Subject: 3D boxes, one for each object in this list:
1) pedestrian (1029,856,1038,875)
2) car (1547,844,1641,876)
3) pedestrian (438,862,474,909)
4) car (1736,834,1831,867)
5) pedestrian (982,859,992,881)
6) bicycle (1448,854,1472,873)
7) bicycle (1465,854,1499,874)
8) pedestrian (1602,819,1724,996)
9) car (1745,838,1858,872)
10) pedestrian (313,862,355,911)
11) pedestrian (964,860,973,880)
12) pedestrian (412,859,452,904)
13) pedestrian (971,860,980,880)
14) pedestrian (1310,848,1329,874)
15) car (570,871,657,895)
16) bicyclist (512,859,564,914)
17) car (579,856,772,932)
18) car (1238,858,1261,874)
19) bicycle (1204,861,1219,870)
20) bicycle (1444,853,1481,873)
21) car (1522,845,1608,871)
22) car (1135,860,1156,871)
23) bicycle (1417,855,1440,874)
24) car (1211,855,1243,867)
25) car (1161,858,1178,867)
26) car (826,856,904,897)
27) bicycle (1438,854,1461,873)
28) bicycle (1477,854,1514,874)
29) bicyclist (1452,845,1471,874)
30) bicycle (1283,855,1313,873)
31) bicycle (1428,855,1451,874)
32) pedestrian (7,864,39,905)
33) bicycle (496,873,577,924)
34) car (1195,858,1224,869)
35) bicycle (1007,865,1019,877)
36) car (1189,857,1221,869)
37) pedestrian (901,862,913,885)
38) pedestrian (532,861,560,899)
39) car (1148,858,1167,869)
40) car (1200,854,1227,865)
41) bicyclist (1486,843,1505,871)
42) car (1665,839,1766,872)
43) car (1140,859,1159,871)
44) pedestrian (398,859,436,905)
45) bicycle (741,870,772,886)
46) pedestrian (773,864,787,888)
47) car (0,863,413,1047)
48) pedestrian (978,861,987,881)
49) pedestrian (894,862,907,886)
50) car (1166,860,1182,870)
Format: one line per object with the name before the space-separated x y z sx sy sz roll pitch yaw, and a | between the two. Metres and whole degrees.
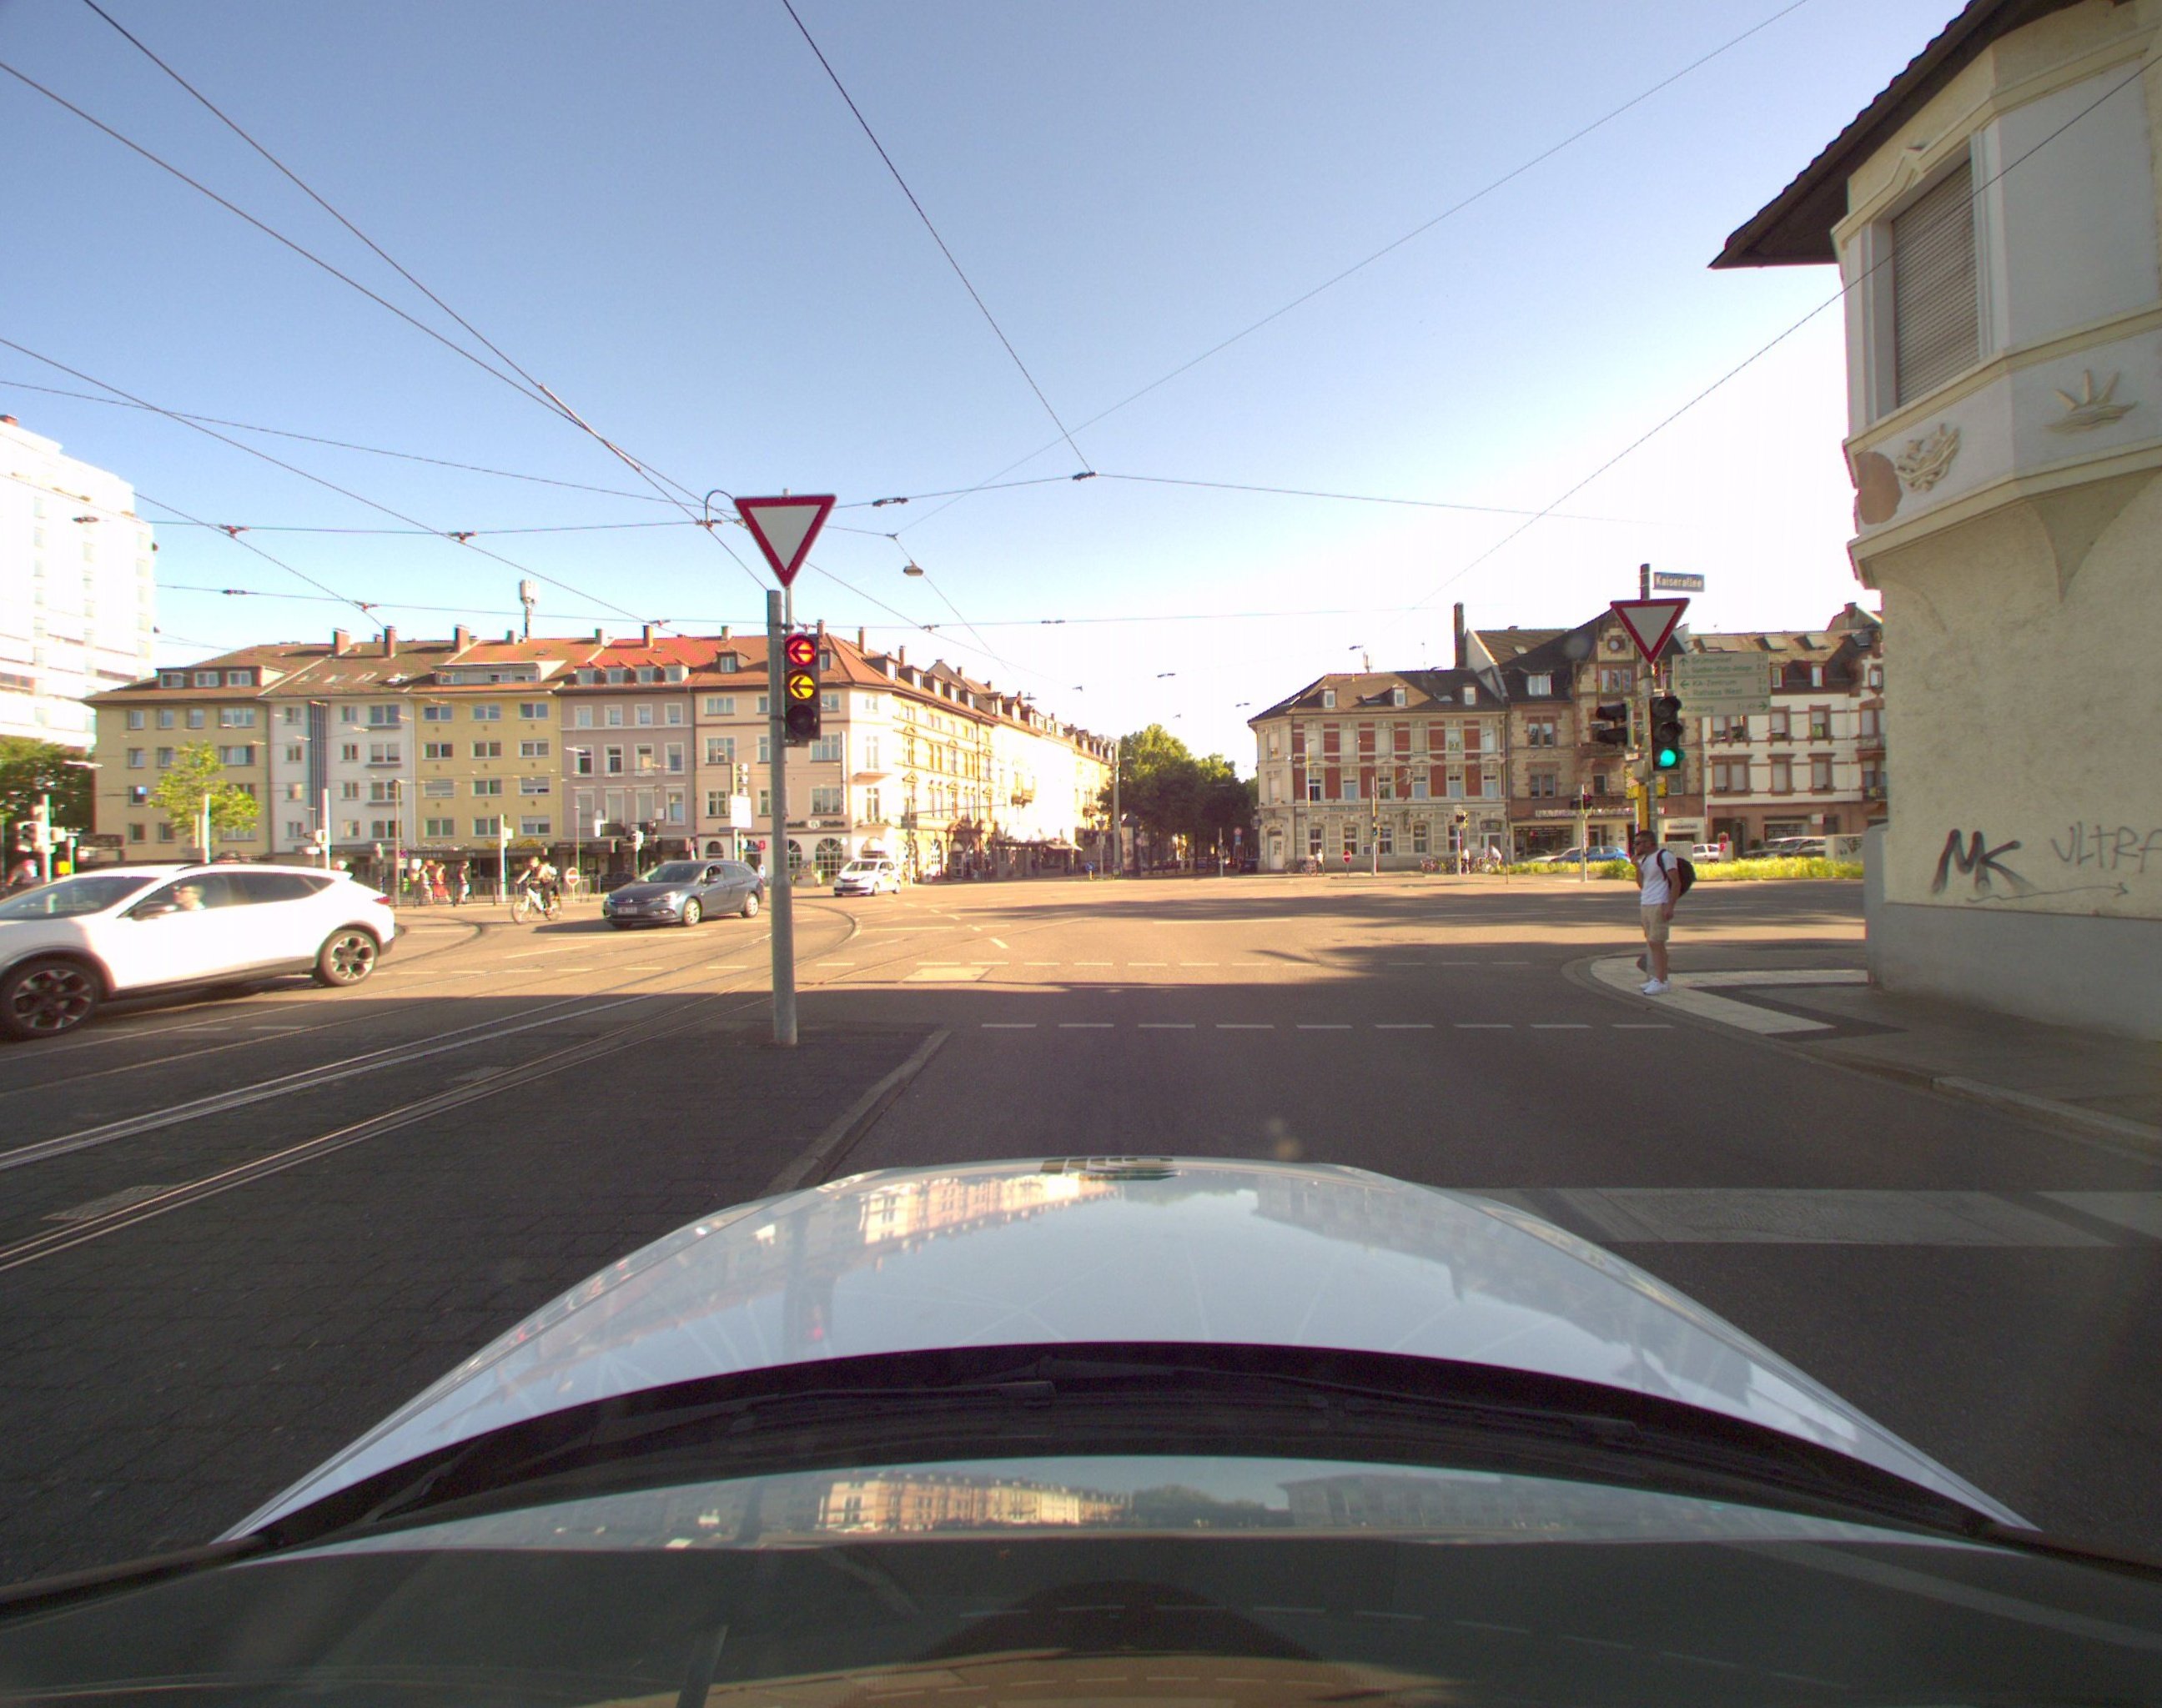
pedestrian | -4.795 1.128 82.824 0.676 1.908 0.636 -2 0 18
car | 28.326 0.327 45.035 3.973 1.668 1.955 -2 0 1
pedestrian | -23.644 1.171 30.825 0.797 1.733 0.653 -1 0 -2
car | 45.243 -0.205 52.504 4.388 1.965 1.955 -2 0 1
pedestrian | -8.107 1.374 70.263 0.575 1.836 0.636 -2 0 18
bicycle | 24.528 0.606 52.742 0.674 1.191 1.969 -2 0 3
bicycle | 25.752 0.630 52.314 1.961 1.191 0.677 -1 0 -10
pedestrian | 6.103 0.542 8.561 0.691 1.740 0.668 -4 -1 -26
car | 39.469 0.056 44.710 4.456 1.668 1.955 -2 0 1
pedestrian | -26.916 1.146 29.340 0.815 1.724 0.853 -2 -1 24
pedestrian | -9.582 1.383 69.434 0.622 1.642 0.539 -2 0 14
pedestrian | -25.947 1.084 32.566 0.899 1.733 0.841 -1 0 2
pedestrian | -9.005 1.355 69.323 0.546 1.642 0.540 -2 0 14
pedestrian | 15.657 0.479 53.453 0.719 1.669 0.932 -1 0 -24
car | -30.692 1.906 53.533 4.626 1.440 1.743 -1 -1 -1
bicyclist | -13.695 0.811 20.560 0.600 1.340 0.900 -1 0 9
car | -9.135 0.819 18.863 1.765 1.497 4.581 -2 0 6
car | 17.022 1.146 82.172 1.978 1.497 4.051 -2 0 16
bicycle | 15.879 1.359 99.044 0.586 1.067 1.928 -1 0 -34
bicycle | 23.649 0.575 50.513 1.952 1.191 0.602 -2 0 4
car | 28.518 0.249 48.028 3.973 1.412 1.846 -2 0 1
car | 8.939 1.559 112.843 1.978 1.497 4.051 -2 0 16
bicycle | 22.505 0.654 52.772 0.674 1.191 1.969 -2 0 3
car | 20.827 1.011 116.162 3.948 1.545 2.013 -2 0 32
car | 14.336 1.362 131.621 1.978 1.497 4.051 -2 0 16
car | -8.502 0.862 32.367 1.708 1.497 3.591 -2 0 8
bicycle | 23.855 0.615 52.766 0.674 1.191 1.969 -2 0 3
bicycle | 26.022 0.638 51.109 1.949 1.191 0.603 -2 0 8
bicyclist | 23.580 0.338 50.519 0.869 1.764 0.602 -2 0 4
bicycle | 15.196 0.712 56.965 1.950 1.191 0.547 -2 0 6
bicycle | 23.207 0.648 52.781 0.674 1.191 1.969 -2 0 3
pedestrian | -41.443 1.195 31.893 0.722 1.568 0.599 -2 -1 22
bicycle | -13.696 1.087 20.550 0.482 1.166 1.962 -1 0 8
car | 20.207 1.448 128.015 3.949 1.545 2.012 -2 0 30
bicycle | -6.702 1.670 79.874 0.491 1.067 1.778 -2 0 18
car | 17.541 1.243 115.444 3.949 1.545 2.012 -2 0 30
pedestrian | -12.304 1.376 57.661 0.626 1.642 0.554 -2 0 15
pedestrian | -23.215 1.120 35.321 0.720 1.627 0.673 -2 0 10
car | 11.522 1.434 122.511 1.978 1.497 4.051 -2 0 16
car | 21.855 0.909 134.145 3.949 1.545 2.012 -2 0 30
bicyclist | 26.024 0.191 51.107 0.898 1.764 0.603 -2 0 9
car | 34.813 0.079 44.770 3.973 1.668 1.955 -2 0 1
car | 9.910 1.588 117.309 1.978 1.497 4.051 -2 0 16
pedestrian | -25.925 1.080 31.799 0.818 1.733 0.789 -1 0 2
bicycle | -22.800 1.696 57.197 1.940 1.067 0.582 -1 0 -6
pedestrian | -20.266 1.480 54.870 0.656 1.524 0.694 -1 0 -3
car | -9.899 0.886 8.555 1.985 1.497 4.351 -2 0 3
pedestrian | -8.395 1.468 69.301 0.546 1.642 0.635 -2 0 15
pedestrian | -12.507 1.400 56.453 0.670 1.642 0.581 -2 0 15
car | 15.565 1.886 136.353 1.978 1.497 4.051 -2 0 16
